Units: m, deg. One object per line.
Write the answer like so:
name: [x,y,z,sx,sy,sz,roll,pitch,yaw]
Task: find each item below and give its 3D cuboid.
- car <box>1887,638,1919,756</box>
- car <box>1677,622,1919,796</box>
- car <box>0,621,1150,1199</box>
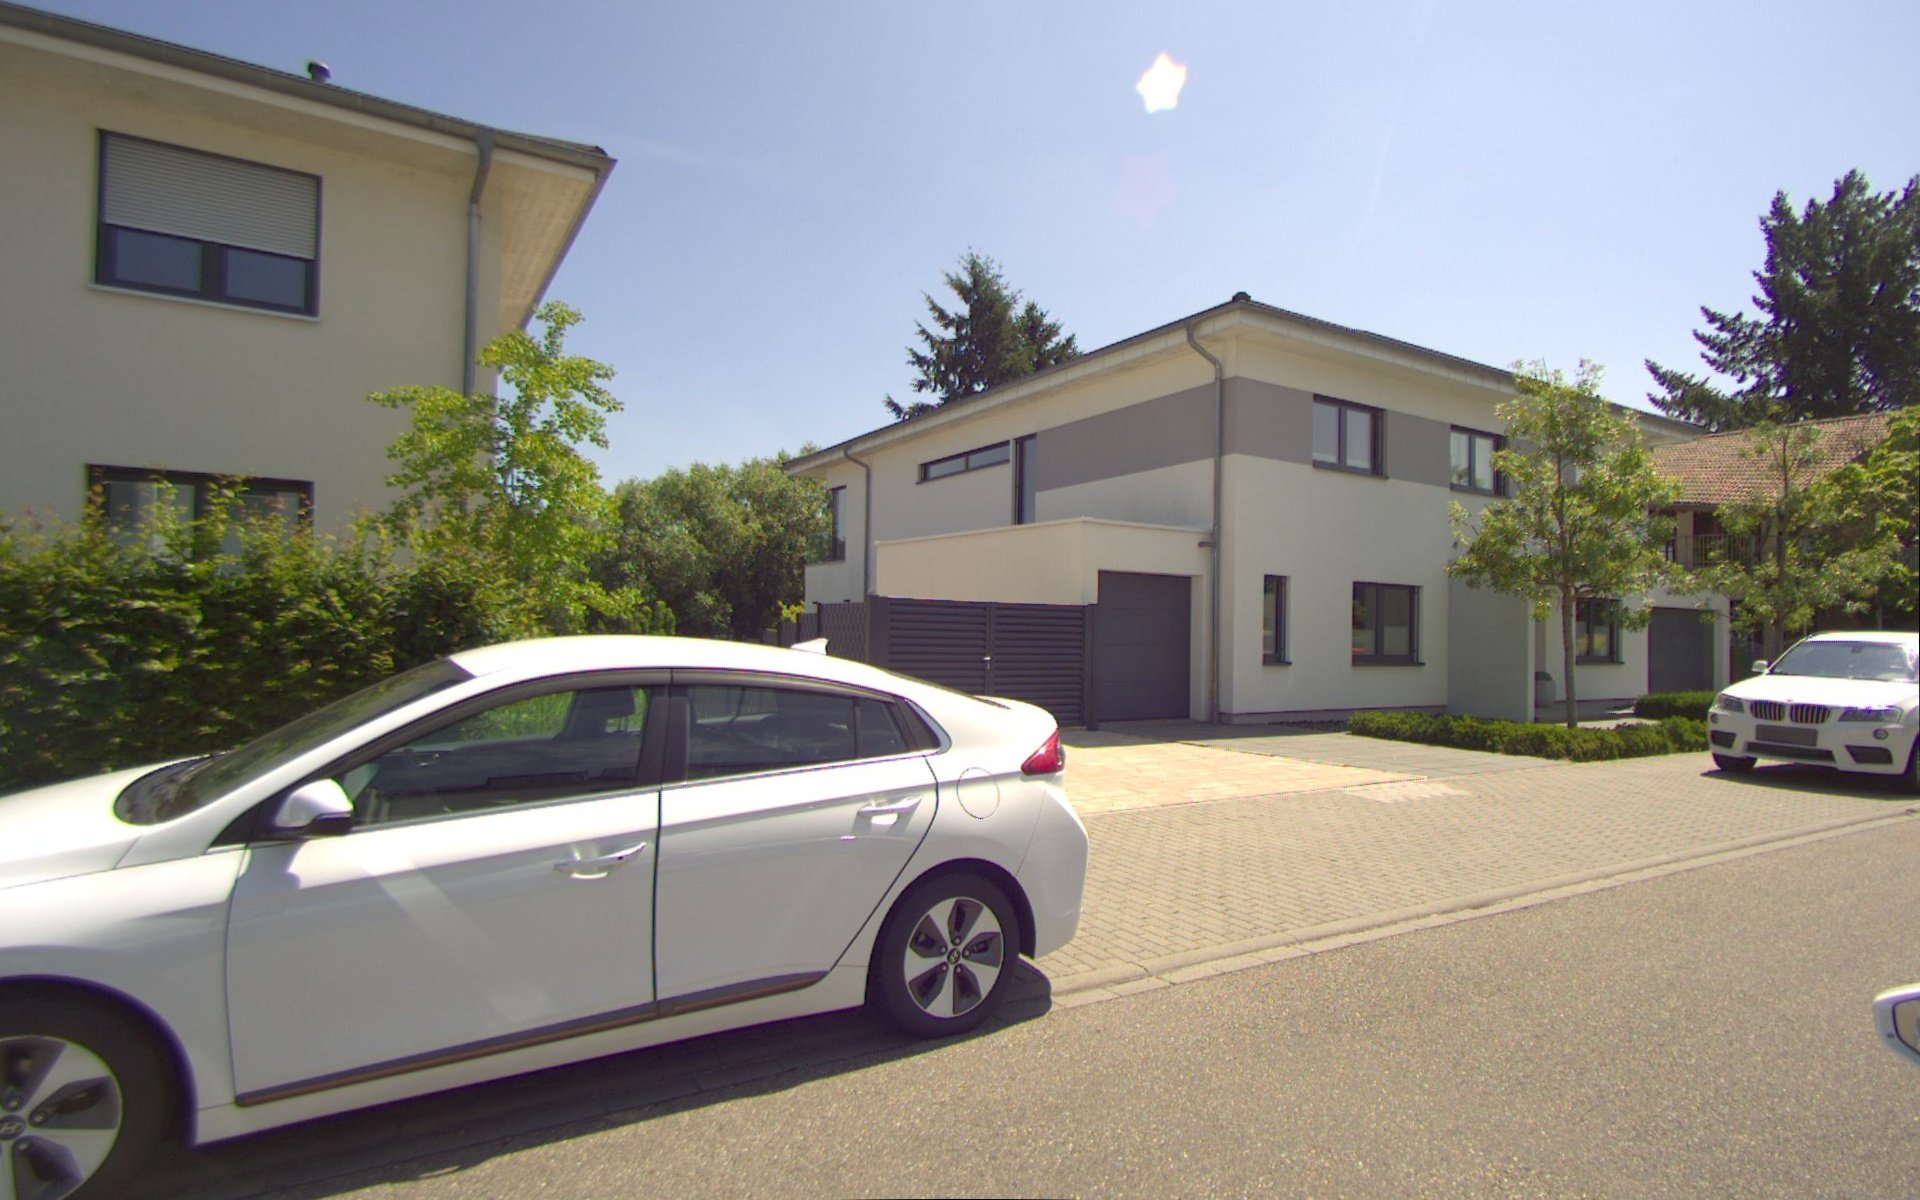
car: [15.968,1.447,15.019,4.165,1.702,1.984,2,-2,-31]
car: [10.613,1.155,11.830,4.446,1.709,1.918,2,-2,-31]
car: [-1.542,0.884,3.867,4.334,1.507,1.843,2,-1,-31]
